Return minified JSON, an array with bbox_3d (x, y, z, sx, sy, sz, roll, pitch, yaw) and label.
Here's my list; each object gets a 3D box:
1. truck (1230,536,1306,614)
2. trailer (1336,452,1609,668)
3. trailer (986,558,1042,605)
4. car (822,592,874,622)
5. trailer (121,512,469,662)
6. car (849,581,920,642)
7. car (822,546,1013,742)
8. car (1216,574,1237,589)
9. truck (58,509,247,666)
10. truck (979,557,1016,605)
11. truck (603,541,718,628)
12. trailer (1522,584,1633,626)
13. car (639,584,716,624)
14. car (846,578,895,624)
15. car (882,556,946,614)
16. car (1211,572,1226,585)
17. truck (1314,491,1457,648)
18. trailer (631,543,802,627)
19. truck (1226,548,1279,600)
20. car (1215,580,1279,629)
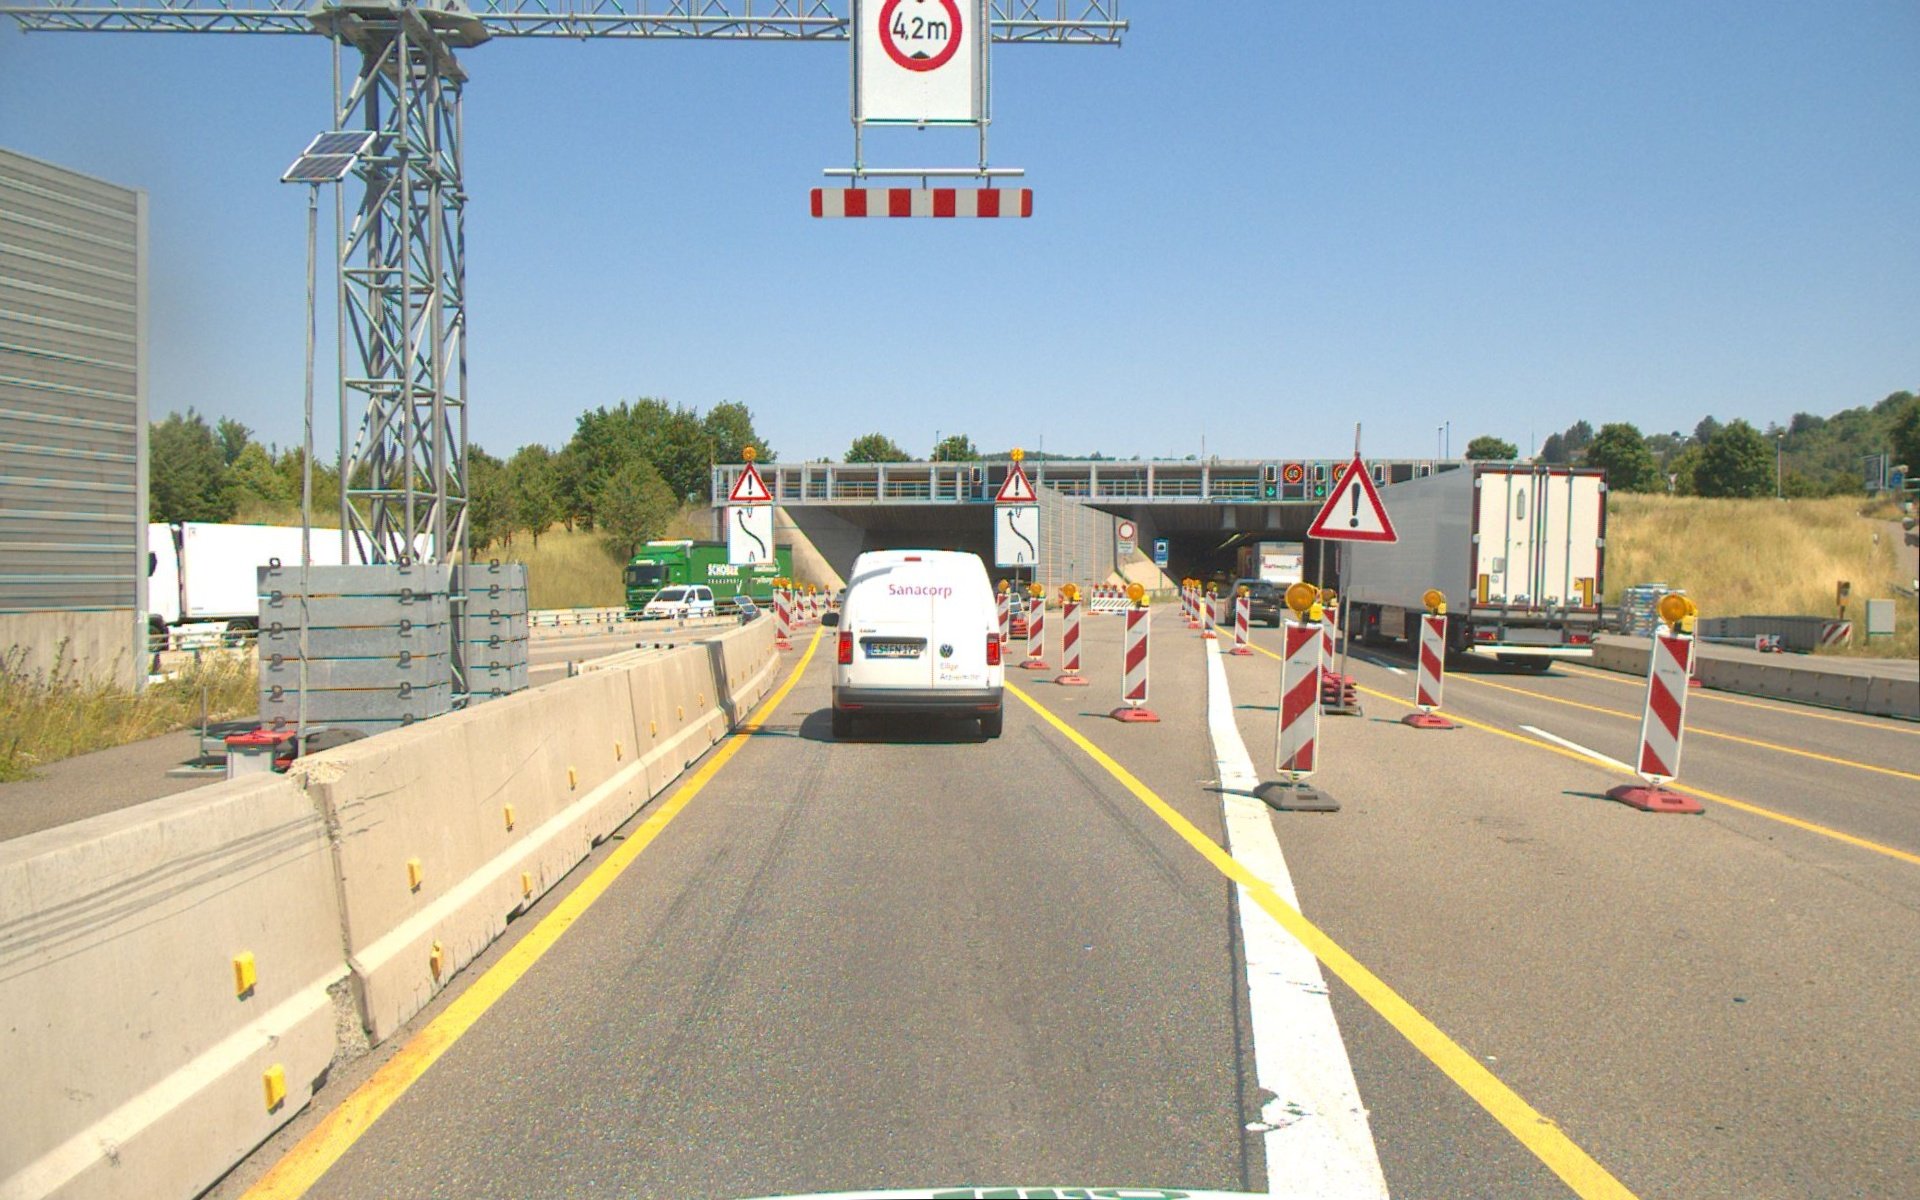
[{"bbox_3d":[19.244,-1.405,104.367,3.330,4.411,16.547,2,0,6],"label":"truck"},{"bbox_3d":[11.569,-0.812,39.228,2.675,4.133,14.100,1,0,3],"label":"trailer"},{"bbox_3d":[5.370,-1.804,160.955,2.384,4.371,13.820,-1,0,15],"label":"trailer"},{"bbox_3d":[-6.358,0.397,94.061,1.679,1.652,4.173,0,0,16],"label":"car"},{"bbox_3d":[-22.753,-0.452,58.336,2.608,4.578,14.939,1,1,16],"label":"trailer"},{"bbox_3d":[-2.104,0.281,45.166,1.773,1.564,4.405,-1,0,-5],"label":"car"},{"bbox_3d":[-0.479,0.398,17.438,1.772,1.825,3.729,-1,0,-3],"label":"car"},{"bbox_3d":[33.692,-2.345,209.330,2.282,1.870,4.547,1,0,6],"label":"car"},{"bbox_3d":[-24.870,-0.410,51.157,2.608,4.578,4.846,1,1,17],"label":"truck"},{"bbox_3d":[3.495,-1.746,153.923,2.380,4.344,4.842,-1,0,15],"label":"truck"},{"bbox_3d":[-15.535,-0.784,86.093,3.472,4.345,5.781,1,0,19],"label":"truck"},{"bbox_3d":[25.793,0.169,69.326,2.541,1.596,6.238,-1,1,2],"label":"trailer"},{"bbox_3d":[-12.339,0.162,72.513,1.679,1.652,4.173,0,0,16],"label":"car"},{"bbox_3d":[-3.791,0.027,70.359,1.771,1.846,4.410,-1,0,1],"label":"car"},{"bbox_3d":[-2.327,-0.713,85.952,2.755,2.822,7.103,1,0,2],"label":"car"},{"bbox_3d":[35.641,-2.997,228.068,1.776,1.658,4.193,1,0,6],"label":"car"},{"bbox_3d":[11.949,-0.835,46.930,2.688,4.103,5.928,1,0,3],"label":"truck"},{"bbox_3d":[-13.318,-0.812,92.607,3.472,4.345,13.913,1,0,19],"label":"trailer"},{"bbox_3d":[25.181,-2.130,143.070,3.329,4.142,16.548,1,0,6],"label":"truck"},{"bbox_3d":[10.237,0.148,59.216,1.777,1.658,4.192,1,0,3],"label":"car"}]
